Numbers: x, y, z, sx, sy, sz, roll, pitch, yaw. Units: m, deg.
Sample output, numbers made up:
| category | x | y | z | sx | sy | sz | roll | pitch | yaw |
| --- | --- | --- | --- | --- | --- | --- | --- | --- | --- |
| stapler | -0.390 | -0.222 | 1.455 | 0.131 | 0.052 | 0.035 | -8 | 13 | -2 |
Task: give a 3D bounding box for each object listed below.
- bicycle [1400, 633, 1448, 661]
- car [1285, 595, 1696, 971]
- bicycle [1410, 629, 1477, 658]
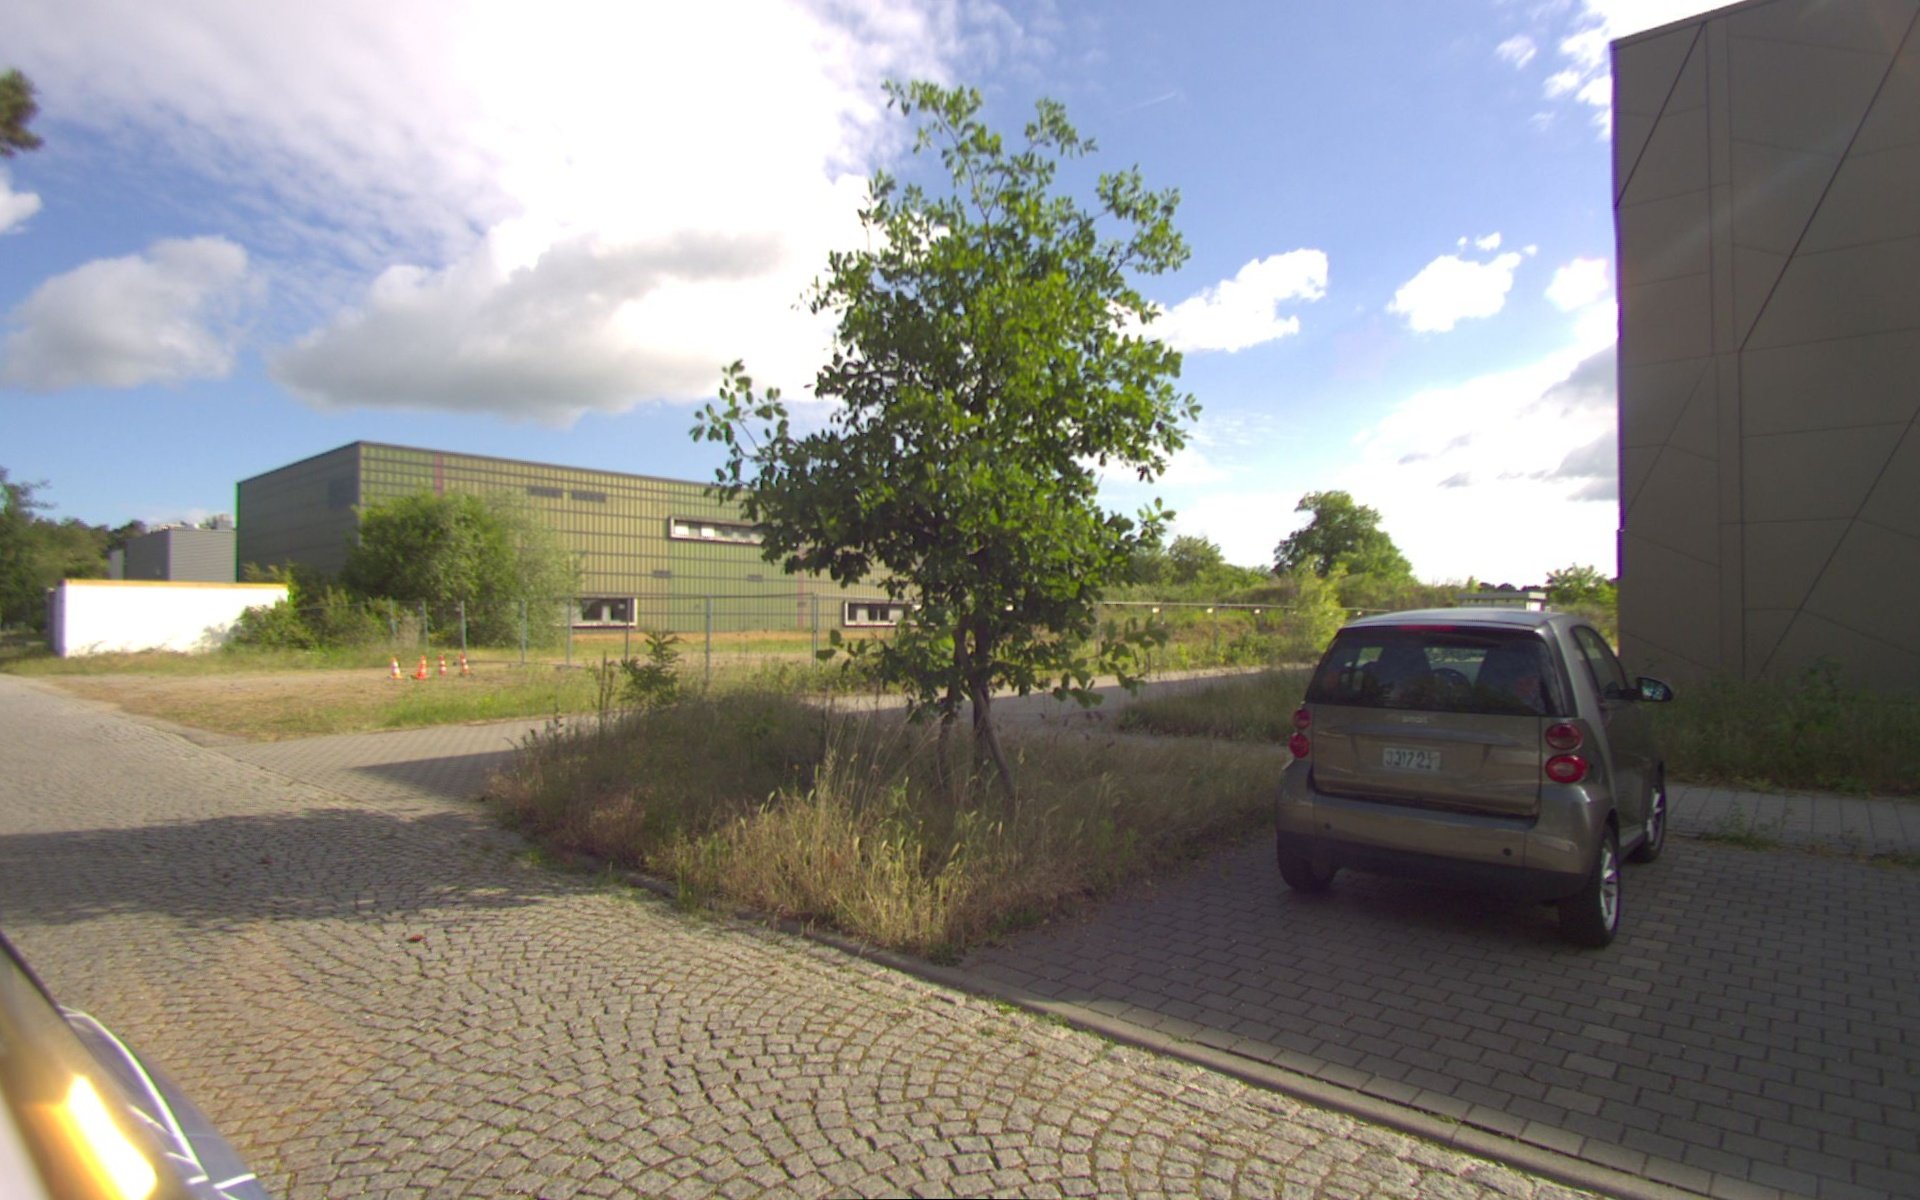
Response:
| category | x | y | z | sx | sy | sz | roll | pitch | yaw |
| --- | --- | --- | --- | --- | --- | --- | --- | --- | --- |
| bicycle | 15.683 | 1.598 | 34.232 | 1.358 | 0.906 | 0.511 | -4 | -4 | 44 |
| car | 3.135 | 0.777 | 5.780 | 1.518 | 1.554 | 2.671 | -1 | 0 | 40 |
| bicycle | 17.125 | 1.545 | 35.874 | 1.968 | 0.976 | 0.830 | -4 | -4 | 44 |
